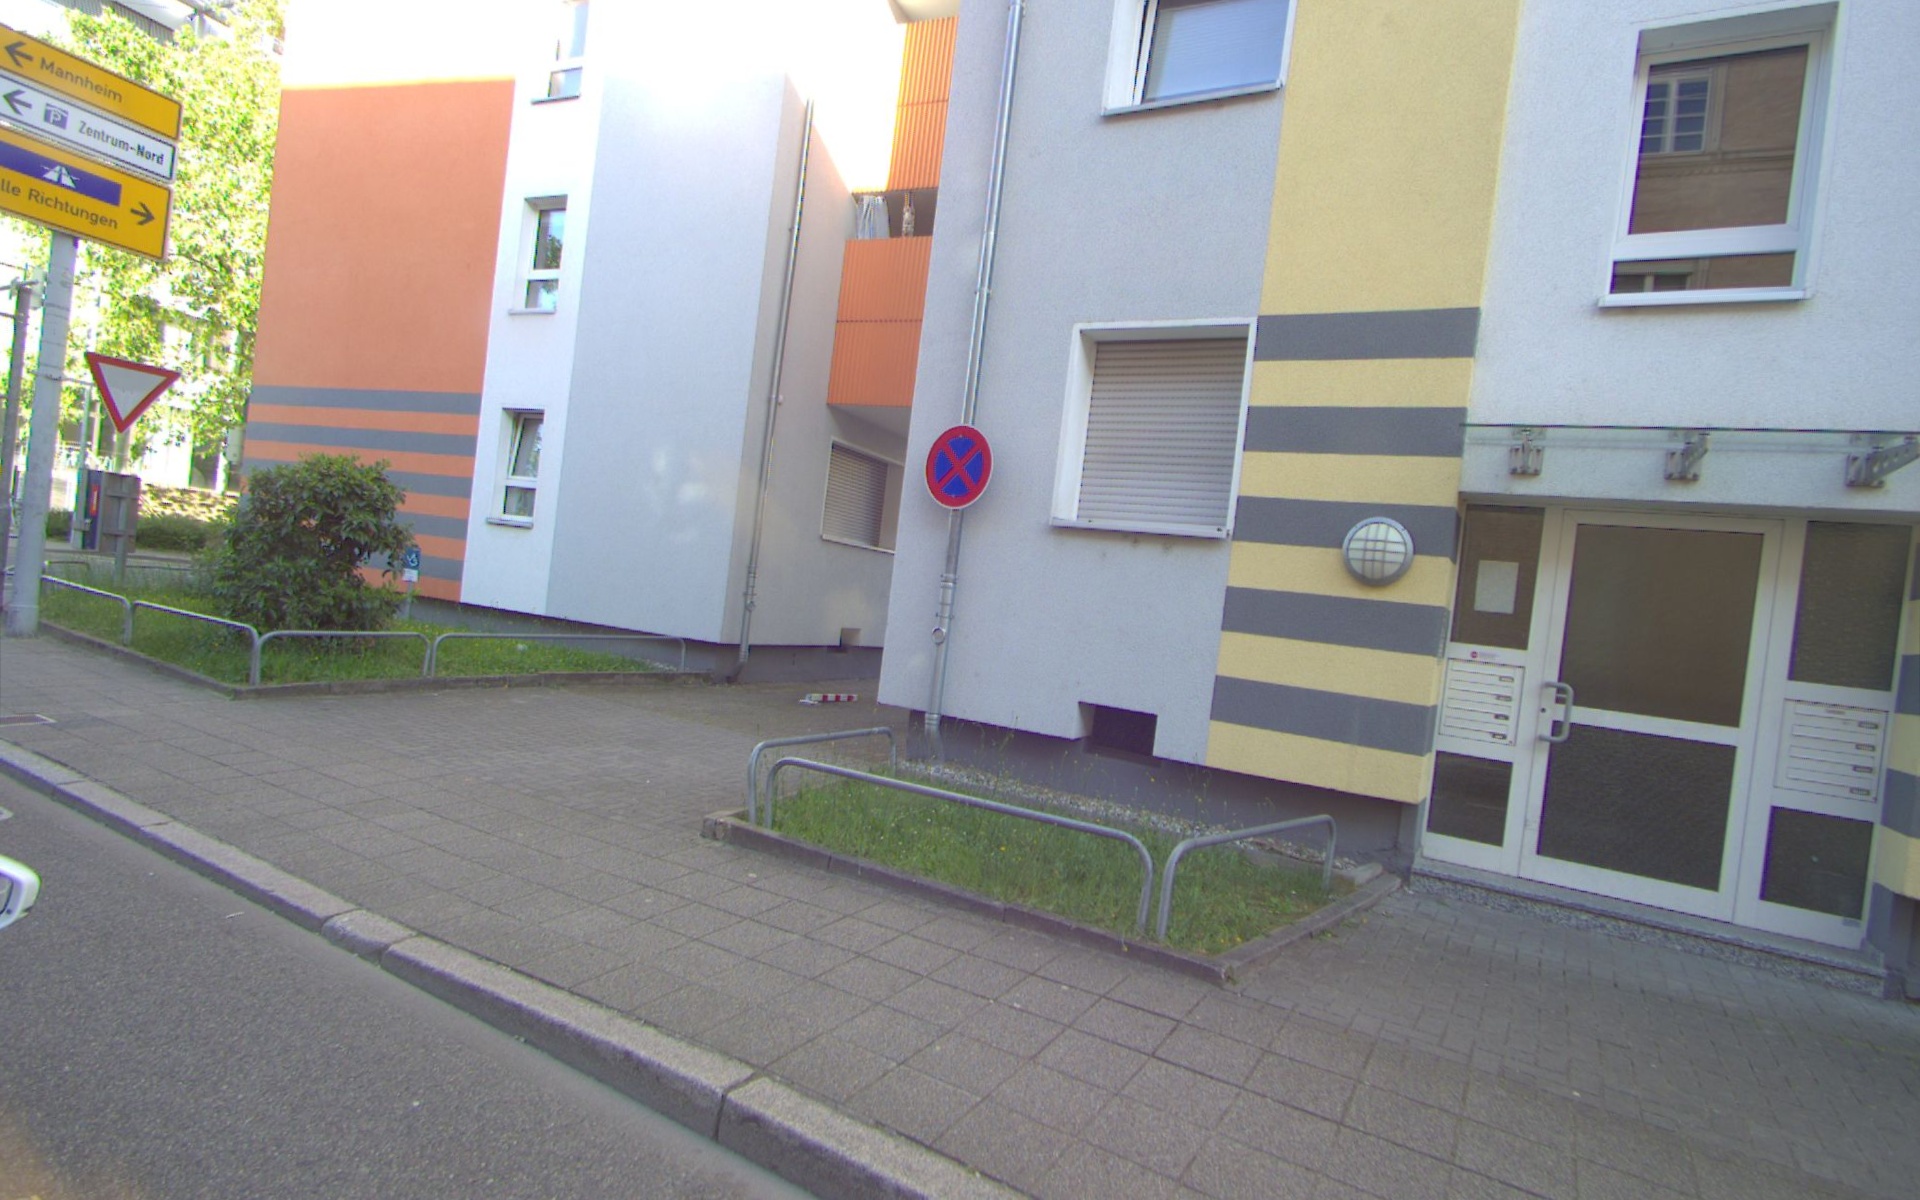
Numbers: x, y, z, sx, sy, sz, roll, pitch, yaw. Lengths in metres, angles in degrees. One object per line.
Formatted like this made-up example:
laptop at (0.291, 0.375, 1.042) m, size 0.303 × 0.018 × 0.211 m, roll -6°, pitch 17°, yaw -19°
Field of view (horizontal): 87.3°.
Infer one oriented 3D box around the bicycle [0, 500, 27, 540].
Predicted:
bicycle at (-26.394, -2.240, 27.390) m, size 1.409 × 1.021 × 0.379 m, roll 7°, pitch 1°, yaw -11°

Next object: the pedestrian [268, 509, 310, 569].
pedestrian at (-21.789, -1.981, 32.669) m, size 0.637 × 1.816 × 0.766 m, roll 6°, pitch -1°, yaw 34°

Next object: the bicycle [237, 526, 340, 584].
bicycle at (-16.634, -1.094, 24.961) m, size 0.583 × 1.166 × 1.963 m, roll 7°, pitch 0°, yaw 37°
